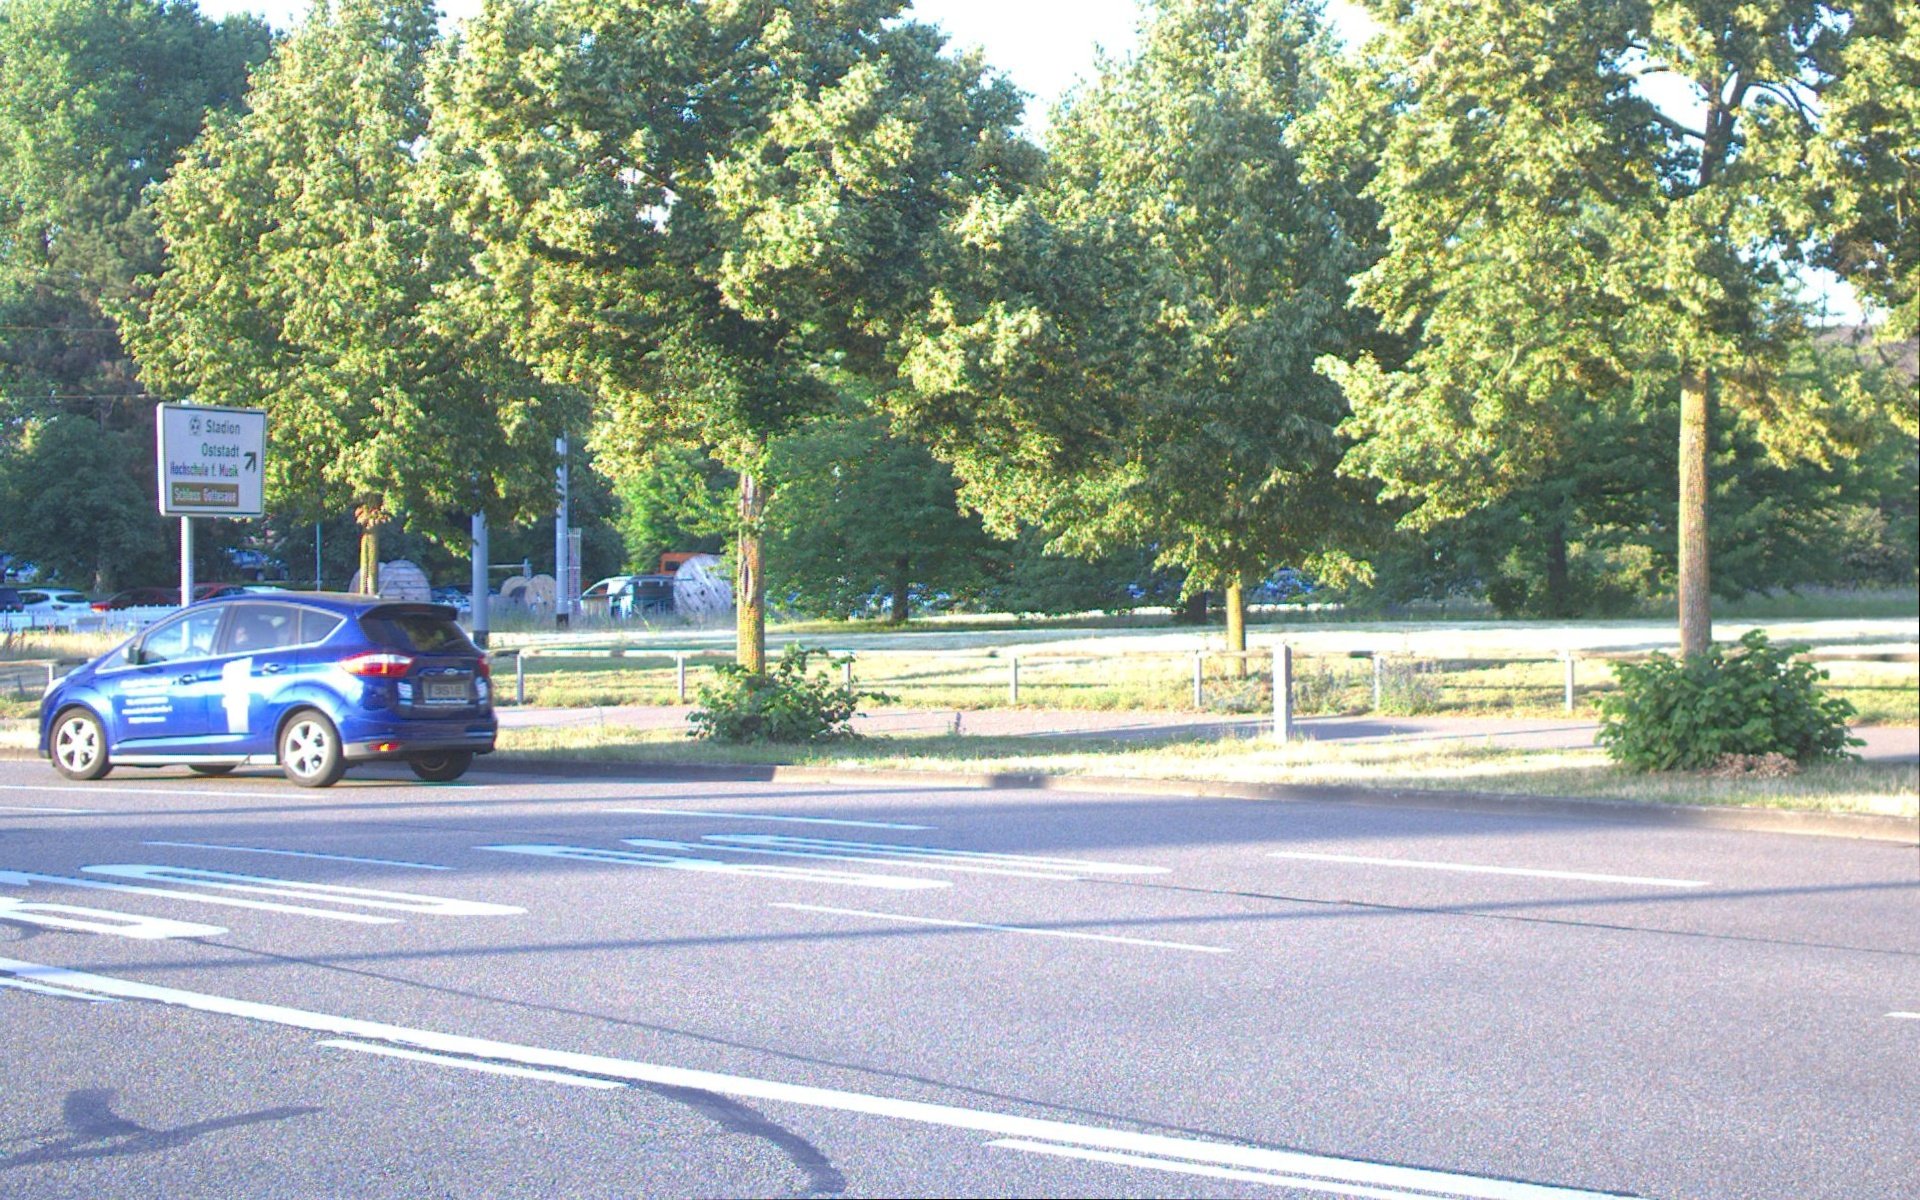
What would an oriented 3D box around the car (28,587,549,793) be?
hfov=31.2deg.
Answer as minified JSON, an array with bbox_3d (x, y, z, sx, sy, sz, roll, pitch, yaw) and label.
[{"bbox_3d":[-5.750,0.709,29.309,4.174,1.578,1.912,1,1,32],"label":"car"}]

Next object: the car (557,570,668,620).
[{"bbox_3d":[-11.563,-0.174,114.314,1.734,1.612,3.998,-1,1,-40],"label":"car"}]

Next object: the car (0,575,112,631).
[{"bbox_3d":[-33.413,0.109,125.543,4.582,2.007,2.000,-1,1,-8],"label":"car"}]

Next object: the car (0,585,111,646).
[{"bbox_3d":[-31.441,0.527,117.379,4.582,2.007,2.000,-1,1,-8],"label":"car"}]

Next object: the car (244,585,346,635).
[{"bbox_3d":[-24.973,0.354,128.949,1.994,1.746,4.598,-1,2,-36],"label":"car"}]

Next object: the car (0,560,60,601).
[{"bbox_3d":[-40.321,-0.821,145.202,3.988,1.700,1.999,0,1,8],"label":"car"}]

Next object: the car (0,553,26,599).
[{"bbox_3d":[-42.711,-1.028,148.783,1.998,2.007,3.990,0,1,41],"label":"car"}]

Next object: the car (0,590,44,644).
[{"bbox_3d":[-30.077,0.522,104.865,3.994,1.598,1.996,0,1,33],"label":"car"}]

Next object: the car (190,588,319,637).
[{"bbox_3d":[-23.691,0.404,115.422,3.994,1.598,1.996,0,1,33],"label":"car"}]

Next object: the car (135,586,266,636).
[{"bbox_3d":[-25.119,0.340,113.713,3.994,1.598,1.996,0,1,33],"label":"car"}]
